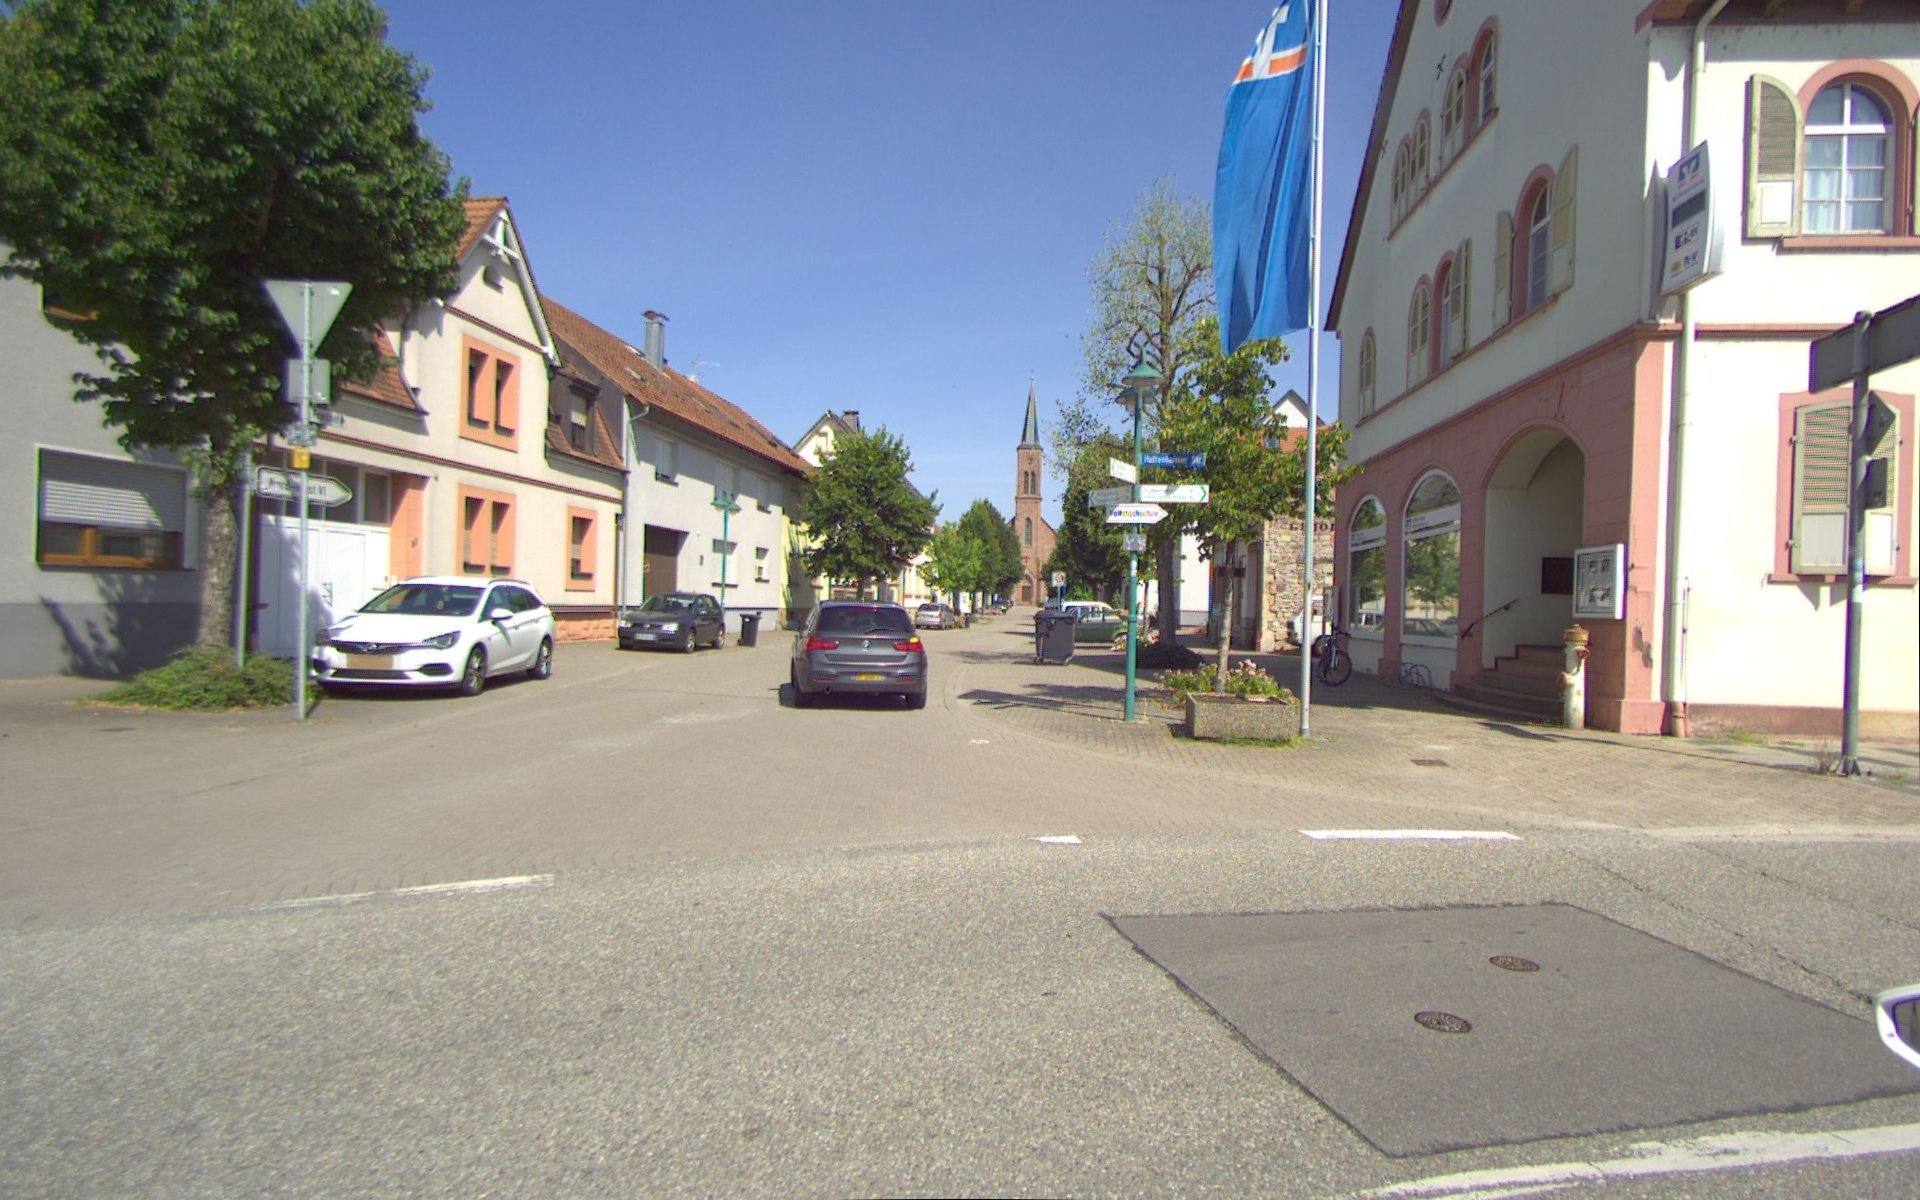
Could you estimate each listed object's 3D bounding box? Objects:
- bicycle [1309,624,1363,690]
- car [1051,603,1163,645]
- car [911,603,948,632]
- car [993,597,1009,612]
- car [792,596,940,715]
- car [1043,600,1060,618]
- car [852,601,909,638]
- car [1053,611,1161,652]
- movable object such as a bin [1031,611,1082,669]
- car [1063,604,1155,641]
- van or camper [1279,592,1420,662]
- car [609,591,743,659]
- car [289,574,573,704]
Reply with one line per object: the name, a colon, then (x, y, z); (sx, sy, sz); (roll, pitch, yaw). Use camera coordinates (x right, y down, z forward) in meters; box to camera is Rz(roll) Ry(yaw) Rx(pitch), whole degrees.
bicycle: (7.086, 1.046, 18.981); (0.583, 1.151, 1.749); (1, 0, 9)
car: (6.355, 1.031, 43.791); (4.721, 1.645, 2.001); (1, 0, 6)
car: (-1.722, 0.965, 57.160); (1.961, 1.483, 4.000); (2, 0, -1)
car: (5.183, 0.566, 127.494); (1.960, 1.840, 4.001); (1, 0, 3)
car: (-1.505, 0.746, 14.591); (1.711, 1.394, 4.261); (4, -2, -10)
car: (13.060, 1.313, 142.957); (2.207, 2.308, 4.506); (3, -1, 6)
car: (-3.593, 0.880, 46.138); (1.960, 1.595, 4.002); (1, 0, 5)
car: (5.429, 1.161, 37.413); (3.857, 1.362, 2.001); (1, 0, 6)
movable object such as a bin: (2.385, 0.972, 24.762); (1.167, 1.356, 0.789); (1, 0, 10)
car: (6.834, 1.018, 46.474); (4.079, 1.589, 2.001); (1, 0, 6)
van or camper: (12.265, 0.829, 31.878); (3.919, 2.040, 2.001); (1, 0, 15)
car: (-7.134, 0.580, 25.873); (1.952, 1.459, 5.210); (3, 0, -1)
car: (-6.908, 0.451, 13.742); (1.820, 1.460, 4.509); (1, 0, -5)
